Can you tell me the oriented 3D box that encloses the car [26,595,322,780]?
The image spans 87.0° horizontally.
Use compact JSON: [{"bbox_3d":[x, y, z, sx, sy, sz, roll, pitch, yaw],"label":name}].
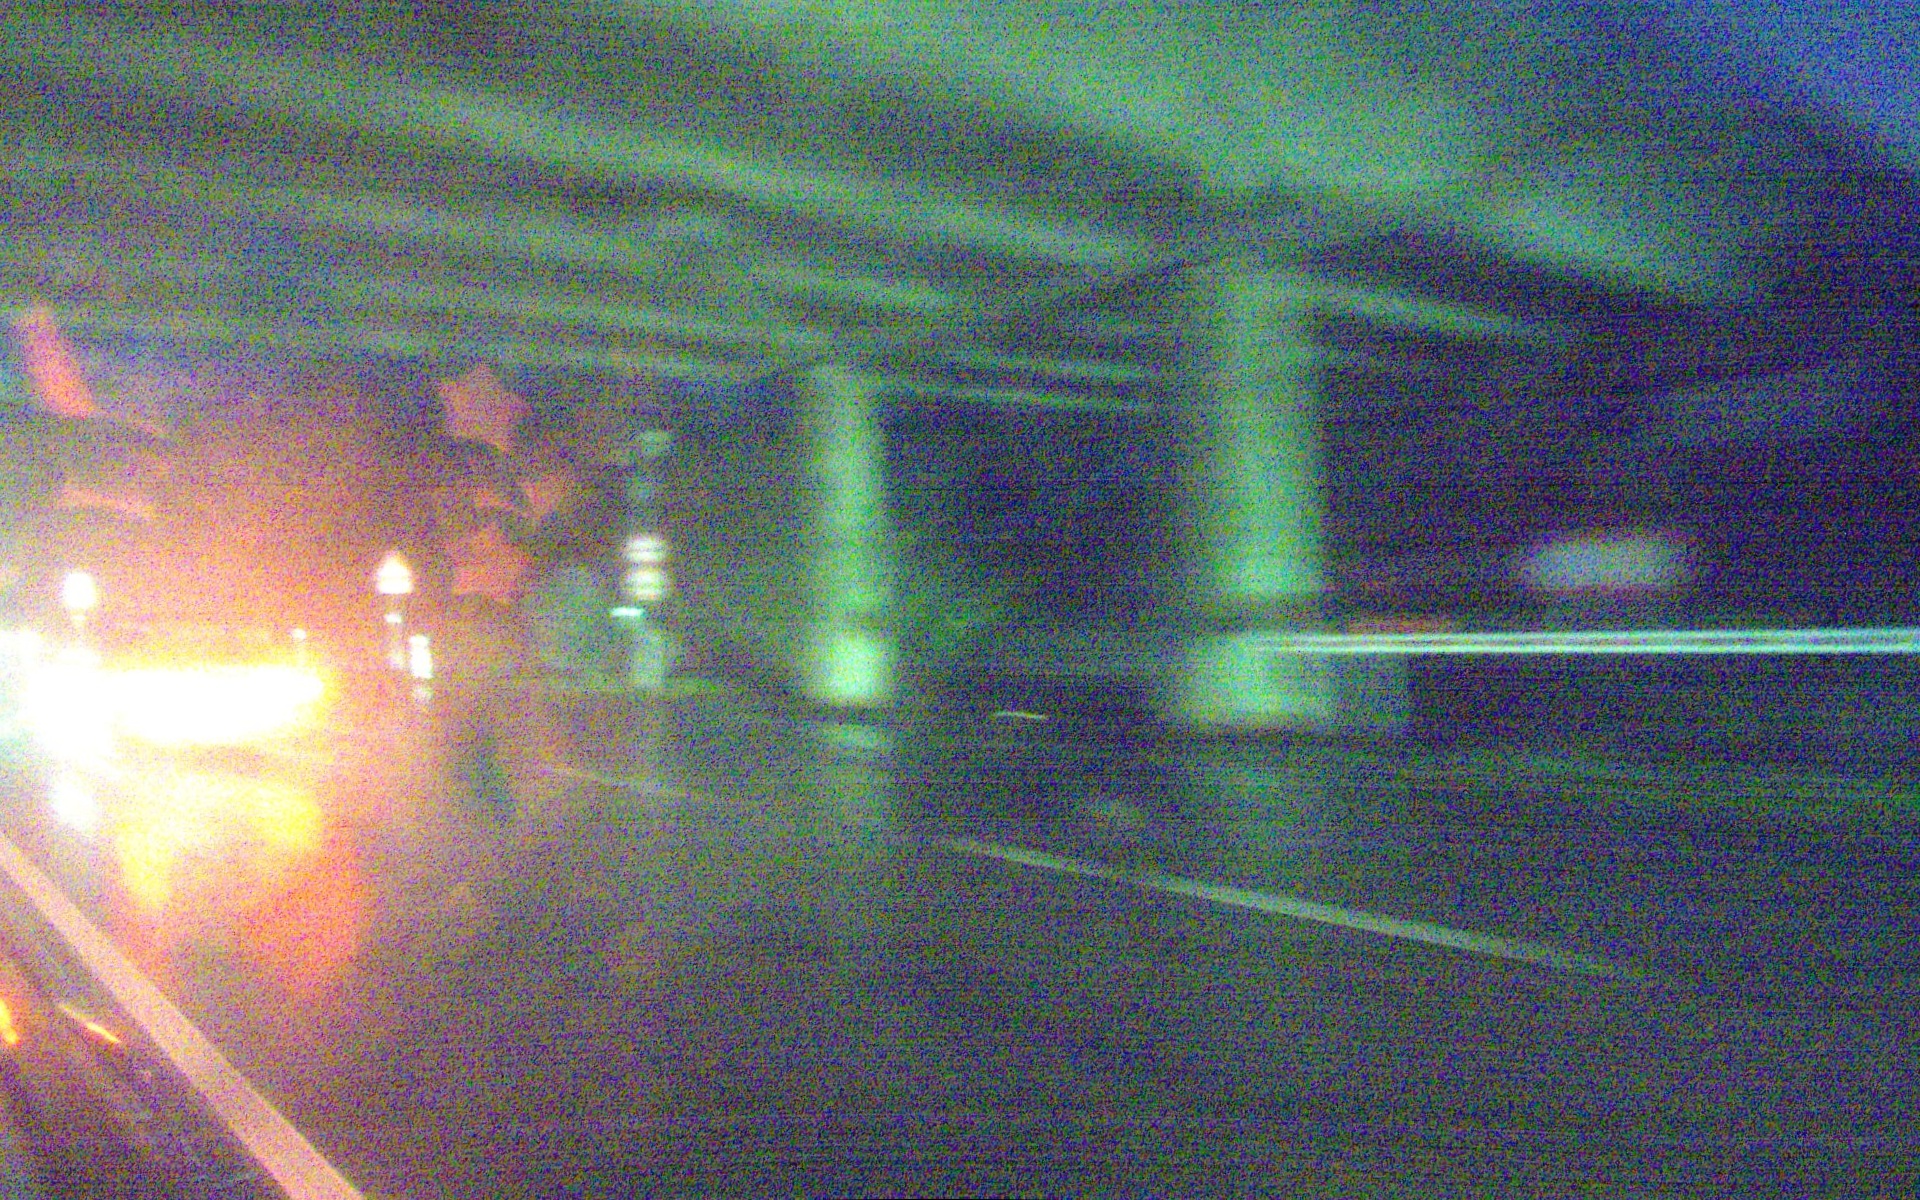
[{"bbox_3d":[-8.753,0.814,11.165,3.789,1.657,1.880,-1,0,41],"label":"car"}]
